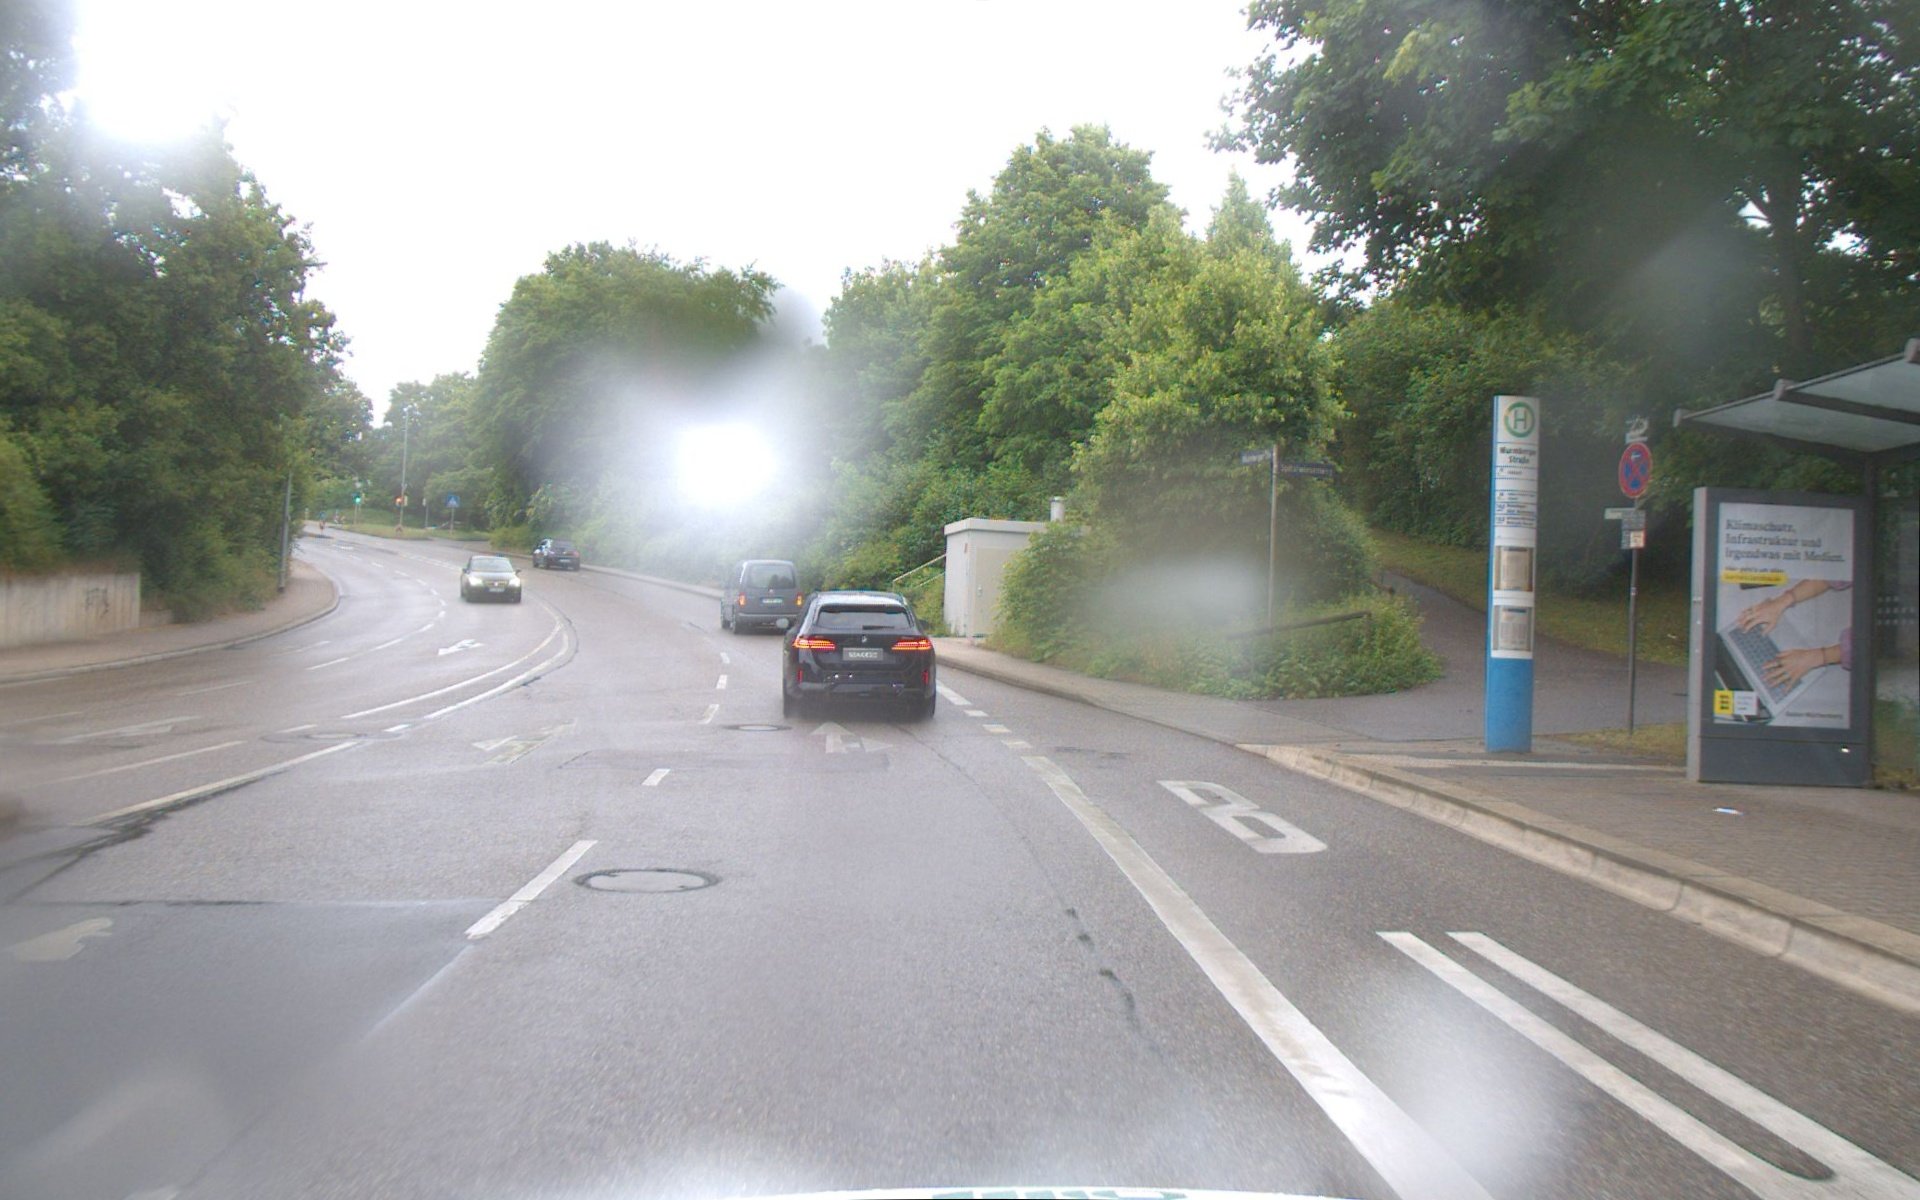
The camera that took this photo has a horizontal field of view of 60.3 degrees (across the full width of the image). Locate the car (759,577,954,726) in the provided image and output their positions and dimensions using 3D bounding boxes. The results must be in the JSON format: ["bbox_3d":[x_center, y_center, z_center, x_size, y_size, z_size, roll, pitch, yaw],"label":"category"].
[{"bbox_3d":[-1.444,0.563,21.095,1.957,1.614,4.653,2,1,-10],"label":"car"}]

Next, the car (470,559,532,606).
[{"bbox_3d":[-15.478,-0.573,55.656,1.862,1.513,4.213,0,0,-18],"label":"car"}]

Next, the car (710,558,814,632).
[{"bbox_3d":[-5.116,-0.156,42.329,1.962,1.779,3.982,1,1,-17],"label":"car"}]

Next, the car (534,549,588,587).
[{"bbox_3d":[-19.567,-1.536,81.033,1.828,1.691,3.968,2,-1,-25],"label":"car"}]
